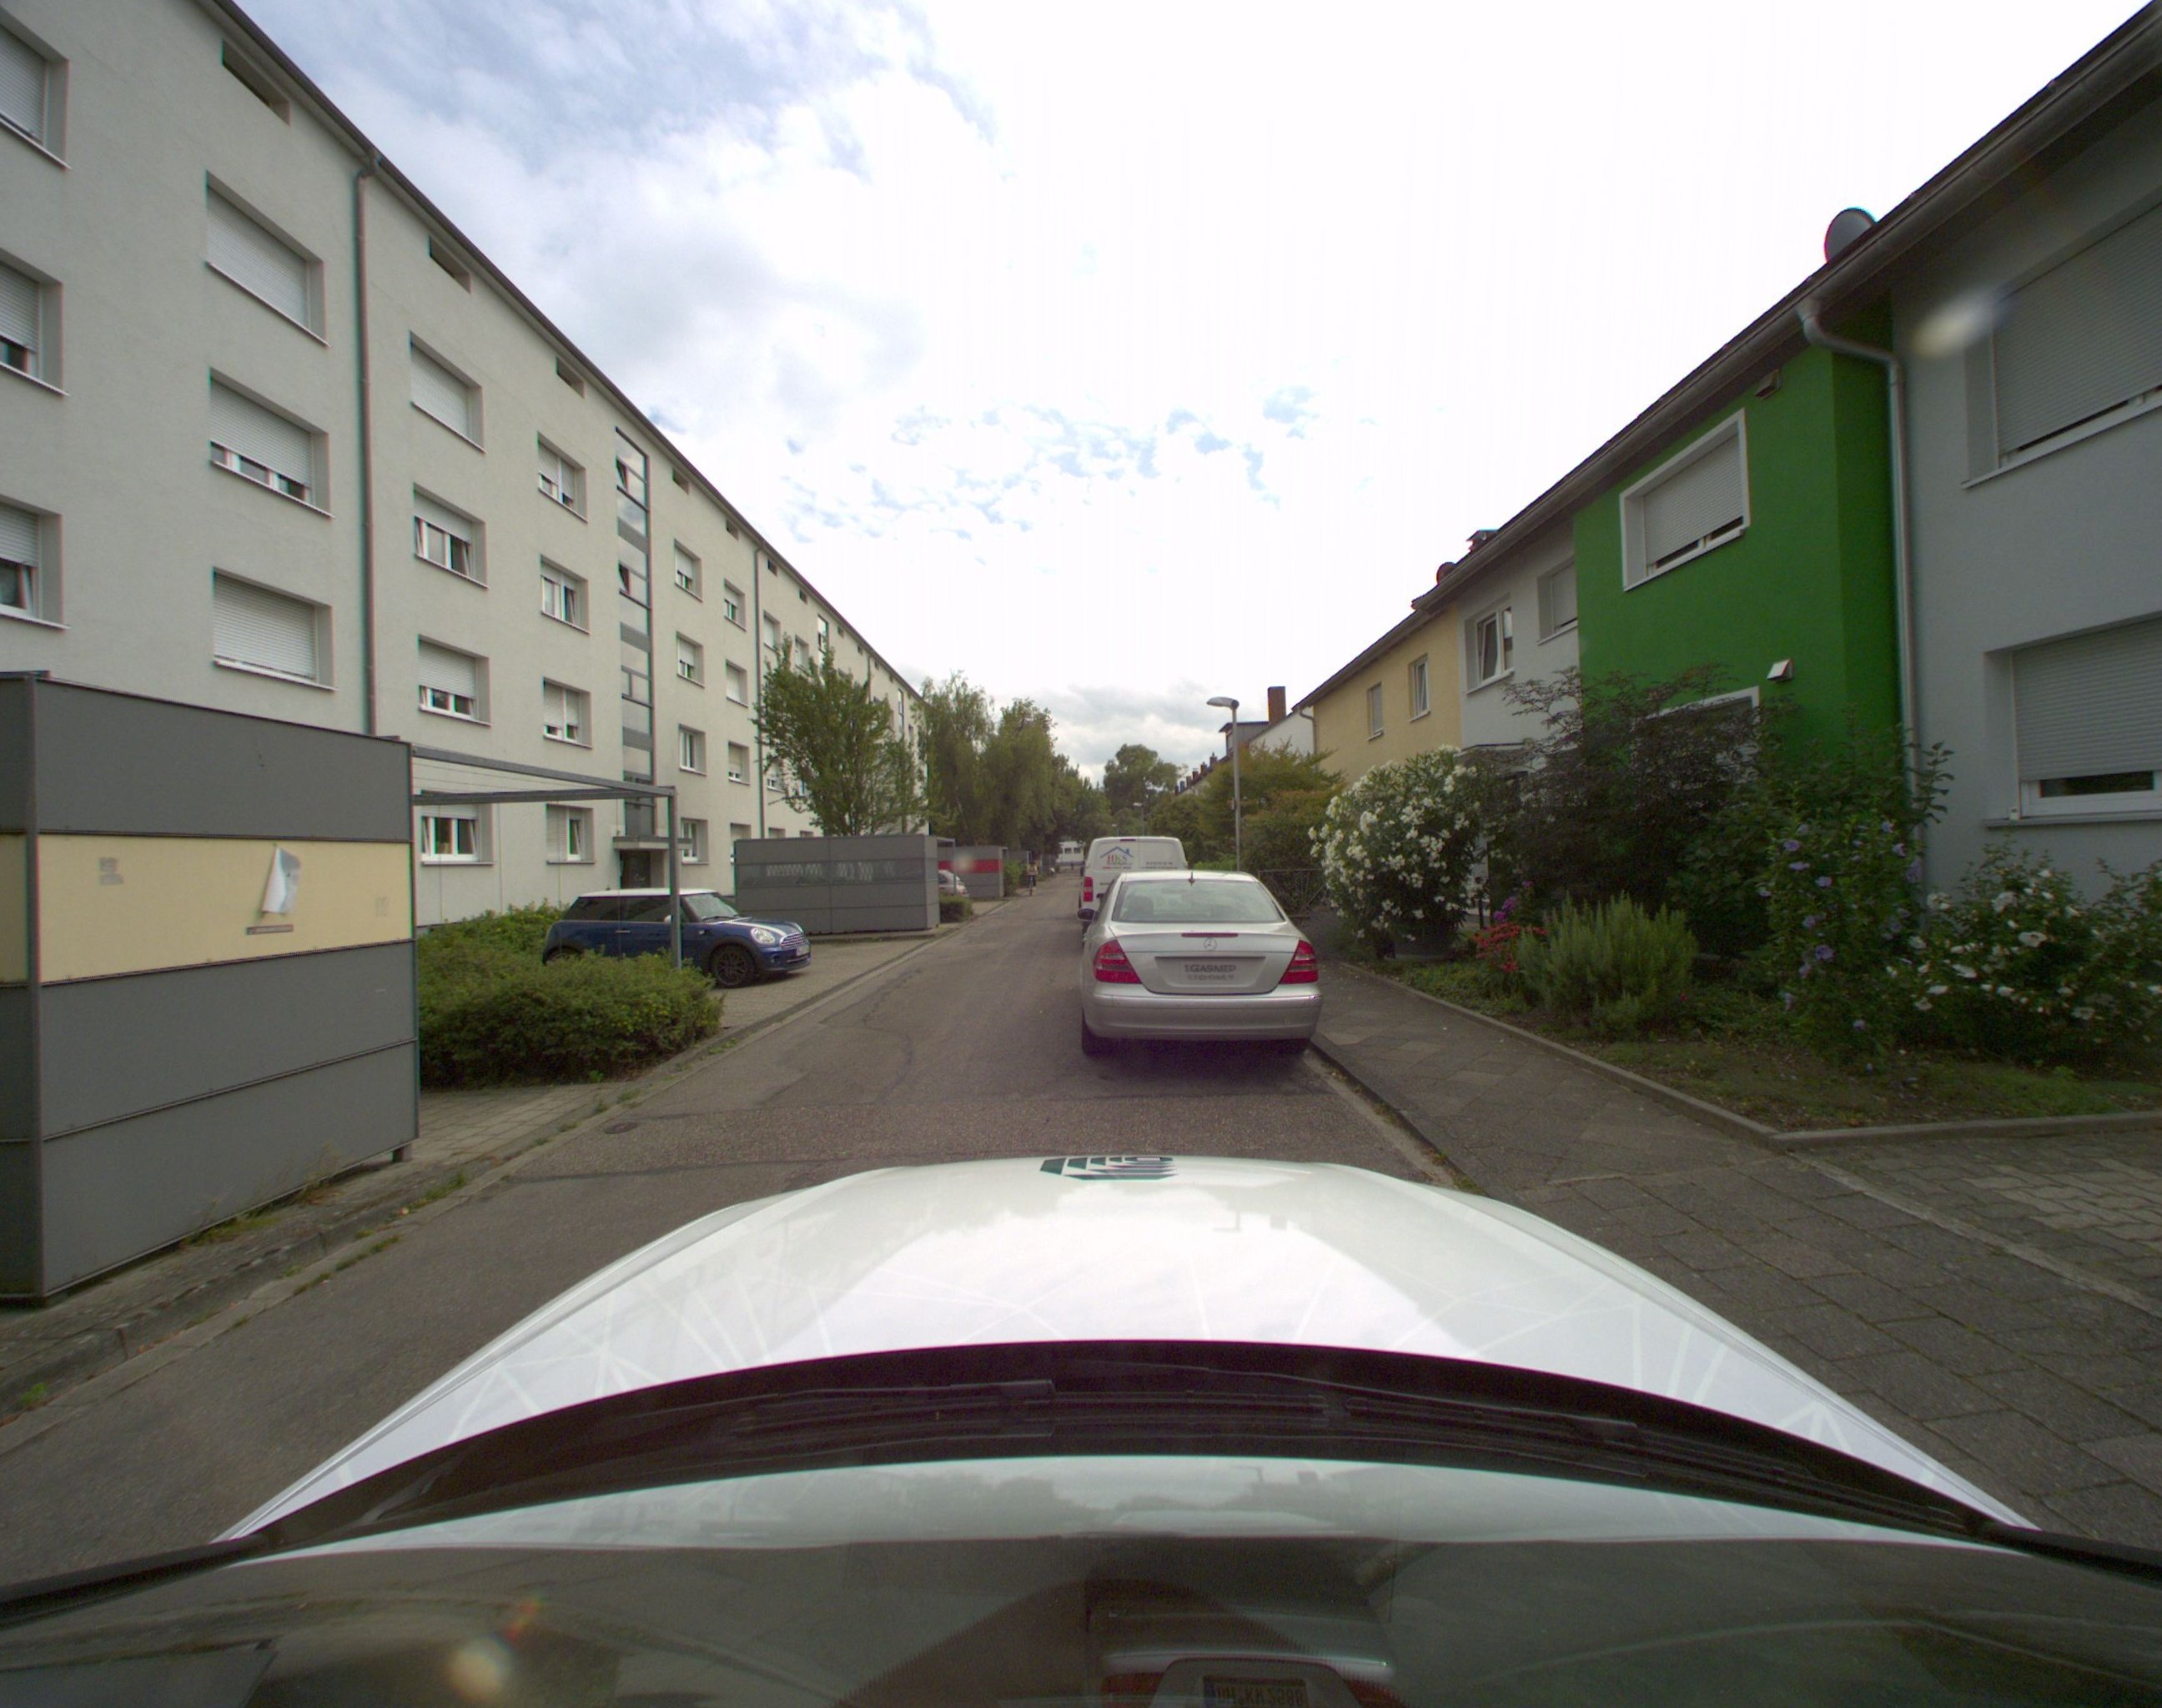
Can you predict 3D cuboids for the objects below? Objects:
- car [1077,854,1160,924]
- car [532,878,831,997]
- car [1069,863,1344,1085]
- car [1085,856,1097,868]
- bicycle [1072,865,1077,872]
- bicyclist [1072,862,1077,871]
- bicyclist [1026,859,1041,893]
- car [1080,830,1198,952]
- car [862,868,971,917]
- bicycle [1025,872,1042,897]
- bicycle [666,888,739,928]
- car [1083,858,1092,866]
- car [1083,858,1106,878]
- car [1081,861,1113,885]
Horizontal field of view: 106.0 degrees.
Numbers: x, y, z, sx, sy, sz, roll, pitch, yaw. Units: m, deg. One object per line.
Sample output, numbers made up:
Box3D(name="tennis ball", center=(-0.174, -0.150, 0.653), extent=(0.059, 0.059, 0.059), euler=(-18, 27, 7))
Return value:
Box3D(name="car", center=(0.890, 0.856, 21.582), extent=(1.820, 1.636, 4.158), euler=(-1, -1, -3))
Box3D(name="car", center=(-5.882, 1.206, 12.268), extent=(3.619, 1.461, 1.654), euler=(-3, -1, 3))
Box3D(name="car", center=(0.892, 0.810, 7.550), extent=(1.777, 1.421, 4.457), euler=(-1, -1, 2))
Box3D(name="car", center=(1.545, 1.239, 124.581), extent=(1.819, 1.883, 4.000), euler=(0, 0, 1))
Box3D(name="bicycle", center=(-1.051, 2.349, 132.624), extent=(0.686, 1.131, 2.580), euler=(0, -1, 2))
Box3D(name="bicyclist", center=(-1.040, 2.032, 132.586), extent=(0.795, 1.511, 0.934), euler=(0, -1, 2))
Box3D(name="bicyclist", center=(-2.289, 1.053, 39.299), extent=(0.595, 1.581, 0.767), euler=(-3, -1, 1))
Box3D(name="car", center=(0.939, 0.627, 15.941), extent=(1.898, 1.964, 5.252), euler=(-1, -1, 0))
Box3D(name="car", center=(-5.817, 1.337, 29.168), extent=(3.555, 1.480, 1.708), euler=(-3, 0, -5))
Box3D(name="bicycle", center=(-2.268, 1.451, 39.302), extent=(0.595, 1.076, 2.043), euler=(-3, -1, 2))
Box3D(name="bicycle", center=(-10.982, 1.559, 23.666), extent=(1.820, 1.024, 0.473), euler=(-2, -1, -41))
Box3D(name="car", center=(1.259, 1.678, 165.418), extent=(1.819, 1.581, 4.000), euler=(0, 0, 1))
Box3D(name="car", center=(1.099, 1.125, 67.935), extent=(1.820, 1.581, 3.998), euler=(0, 0, -1))
Box3D(name="car", center=(0.967, 1.129, 49.073), extent=(1.819, 1.370, 4.331), euler=(0, 0, 1))
